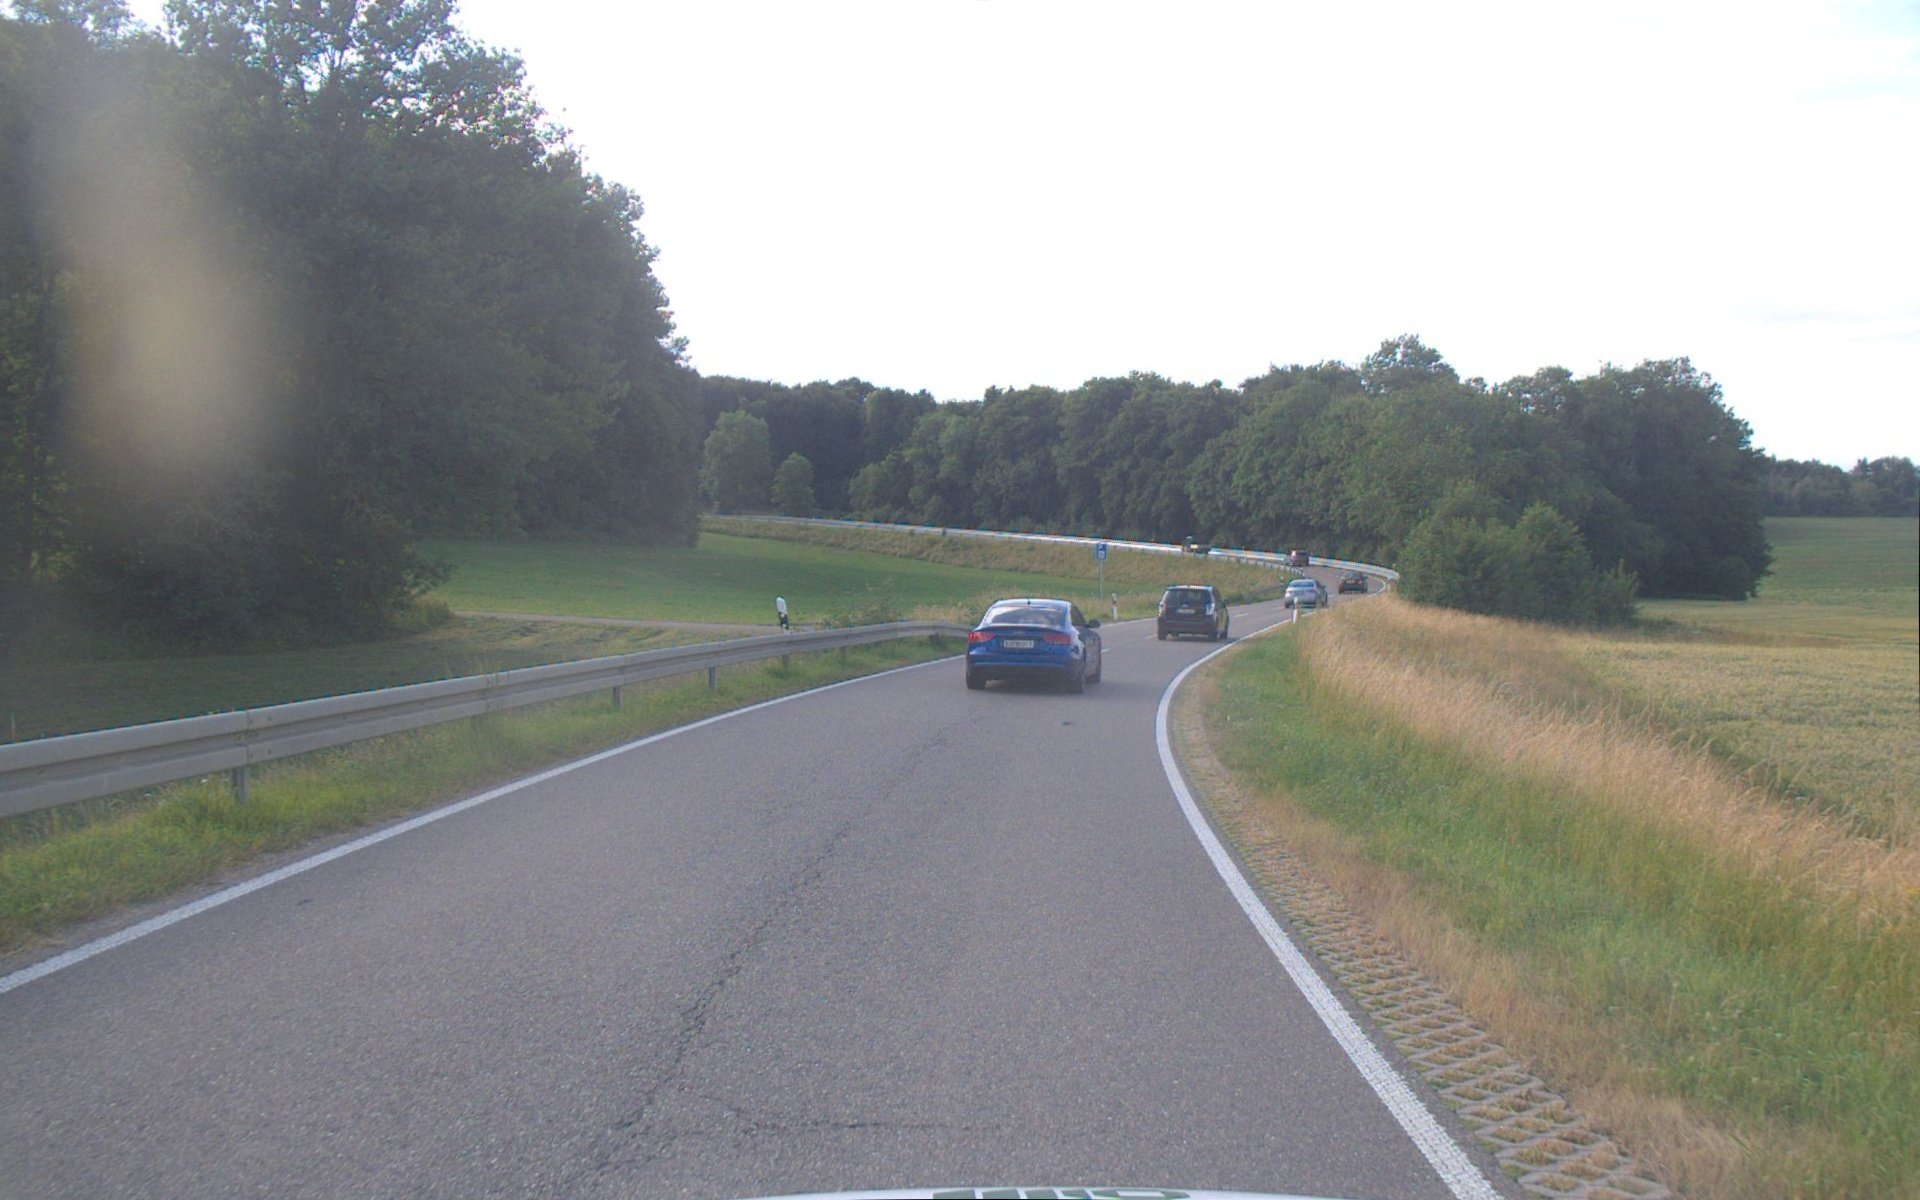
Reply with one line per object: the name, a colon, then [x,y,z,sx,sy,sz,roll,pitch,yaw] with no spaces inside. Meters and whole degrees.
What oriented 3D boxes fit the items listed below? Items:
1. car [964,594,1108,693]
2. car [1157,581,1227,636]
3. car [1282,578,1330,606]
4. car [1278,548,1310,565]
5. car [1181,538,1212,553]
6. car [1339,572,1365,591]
car: [1.293,0.623,26.239,1.780,1.362,4.354,2,0,9]
car: [7.043,0.241,49.978,1.822,1.596,4.004,-1,0,11]
car: [17.994,-0.437,85.947,1.648,1.400,3.998,0,1,24]
car: [35.883,-4.717,177.784,1.958,1.708,4.168,1,2,-11]
car: [29.908,-6.866,209.322,1.968,1.802,3.969,0,2,-25]
car: [26.438,-1.236,111.489,1.440,1.248,3.301,-1,1,19]
